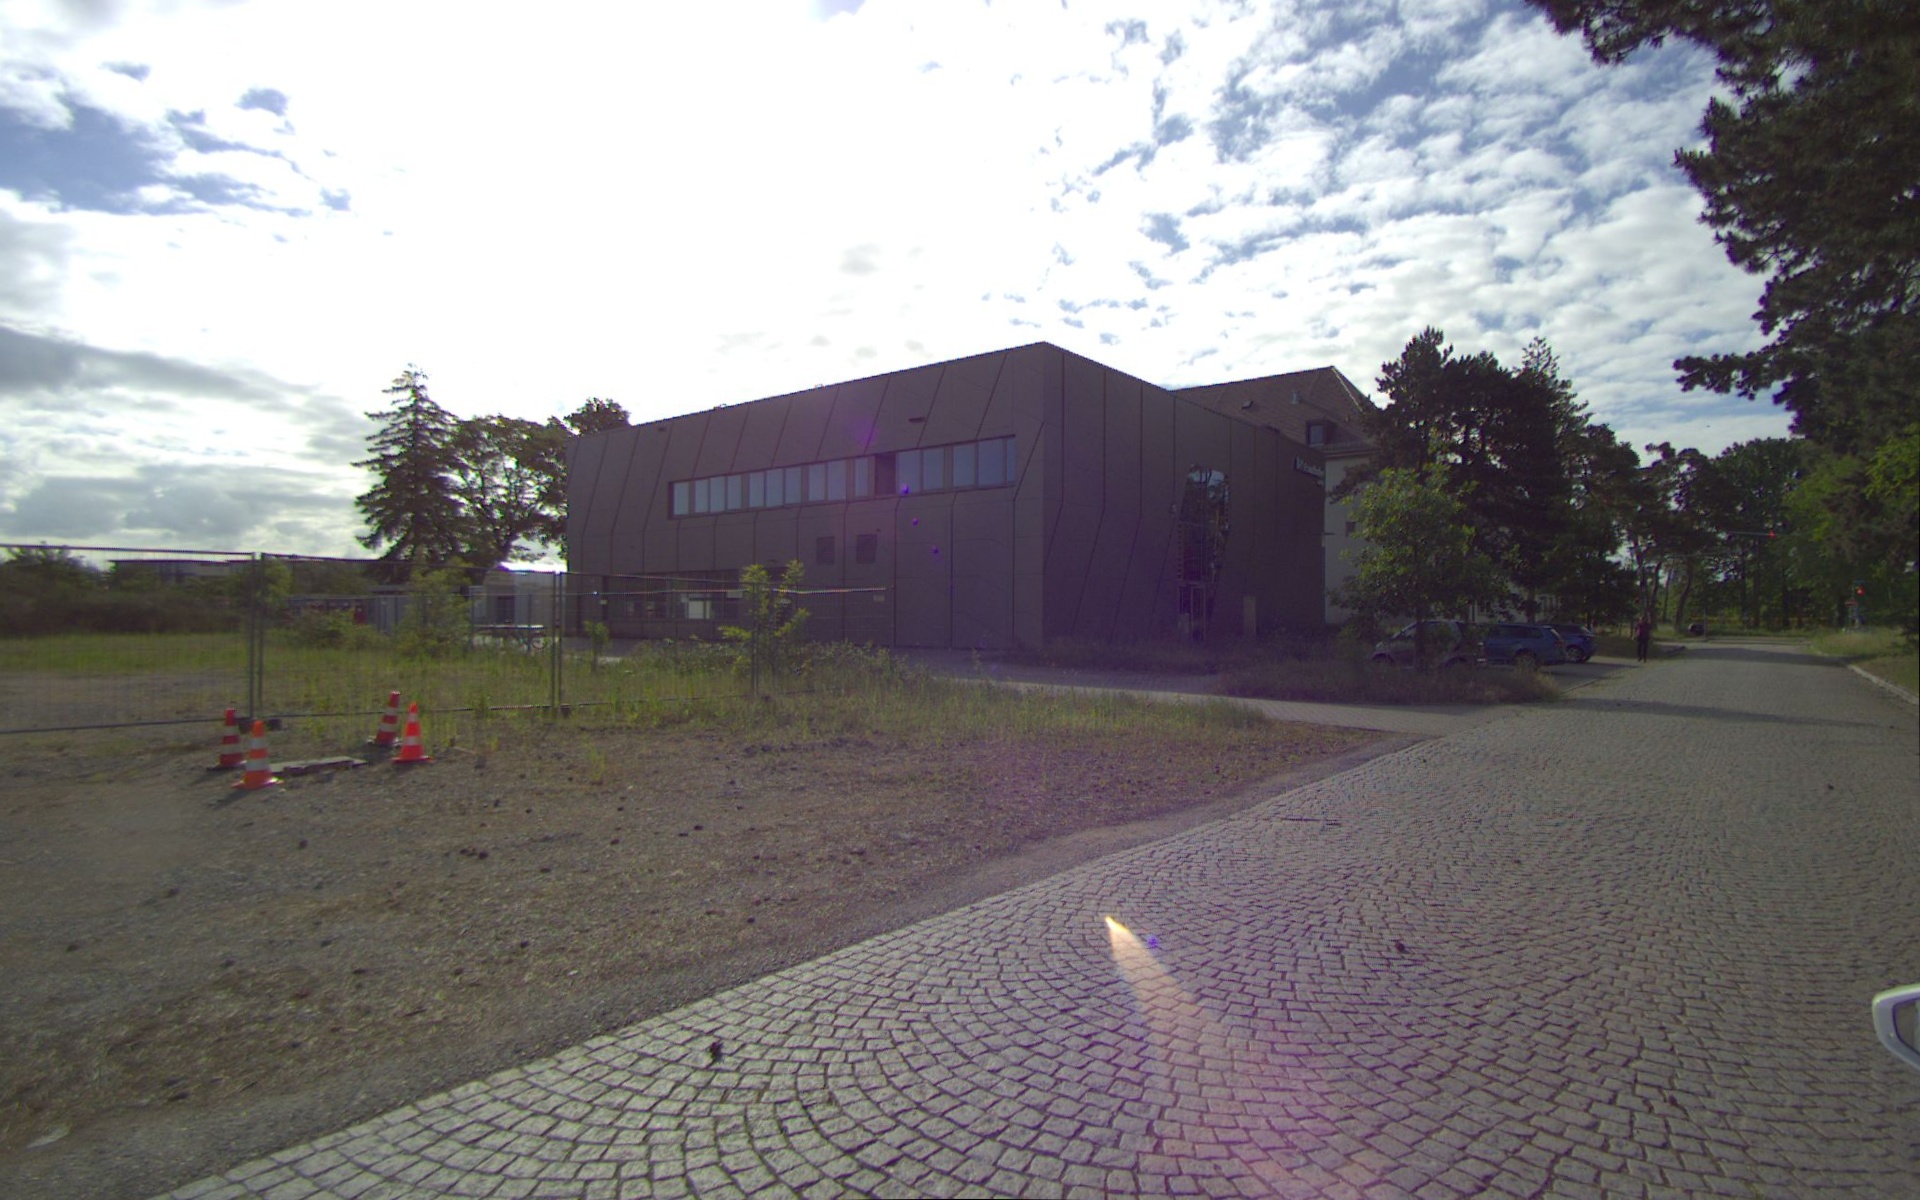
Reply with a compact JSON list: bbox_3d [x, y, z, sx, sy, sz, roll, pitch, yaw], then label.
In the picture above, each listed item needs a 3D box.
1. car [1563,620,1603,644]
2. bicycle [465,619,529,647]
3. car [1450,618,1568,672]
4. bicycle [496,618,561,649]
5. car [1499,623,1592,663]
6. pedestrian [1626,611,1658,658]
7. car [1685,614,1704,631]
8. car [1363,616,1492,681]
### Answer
[{"bbox_3d":[44.244,2.271,71.304,1.969,1.639,3.982,-1,-1,39],"label":"car"},{"bbox_3d":[-17.987,1.266,39.066,0.931,1.058,2.062,0,-1,37],"label":"bicycle"},{"bbox_3d":[17.047,1.362,31.232,3.042,1.477,1.487,2,1,35],"label":"car"},{"bbox_3d":[-16.195,1.242,37.744,0.931,1.101,2.062,0,-1,37],"label":"bicycle"},{"bbox_3d":[22.563,1.617,38.724,3.041,1.469,1.488,0,-1,33],"label":"car"},{"bbox_3d":[27.701,1.386,40.800,0.941,1.868,0.955,0,-1,25],"label":"pedestrian"},{"bbox_3d":[88.720,2.669,121.272,1.677,2.040,3.982,0,-1,39],"label":"car"},{"bbox_3d":[12.037,1.205,25.921,2.730,1.570,1.417,-1,-1,43],"label":"car"}]
